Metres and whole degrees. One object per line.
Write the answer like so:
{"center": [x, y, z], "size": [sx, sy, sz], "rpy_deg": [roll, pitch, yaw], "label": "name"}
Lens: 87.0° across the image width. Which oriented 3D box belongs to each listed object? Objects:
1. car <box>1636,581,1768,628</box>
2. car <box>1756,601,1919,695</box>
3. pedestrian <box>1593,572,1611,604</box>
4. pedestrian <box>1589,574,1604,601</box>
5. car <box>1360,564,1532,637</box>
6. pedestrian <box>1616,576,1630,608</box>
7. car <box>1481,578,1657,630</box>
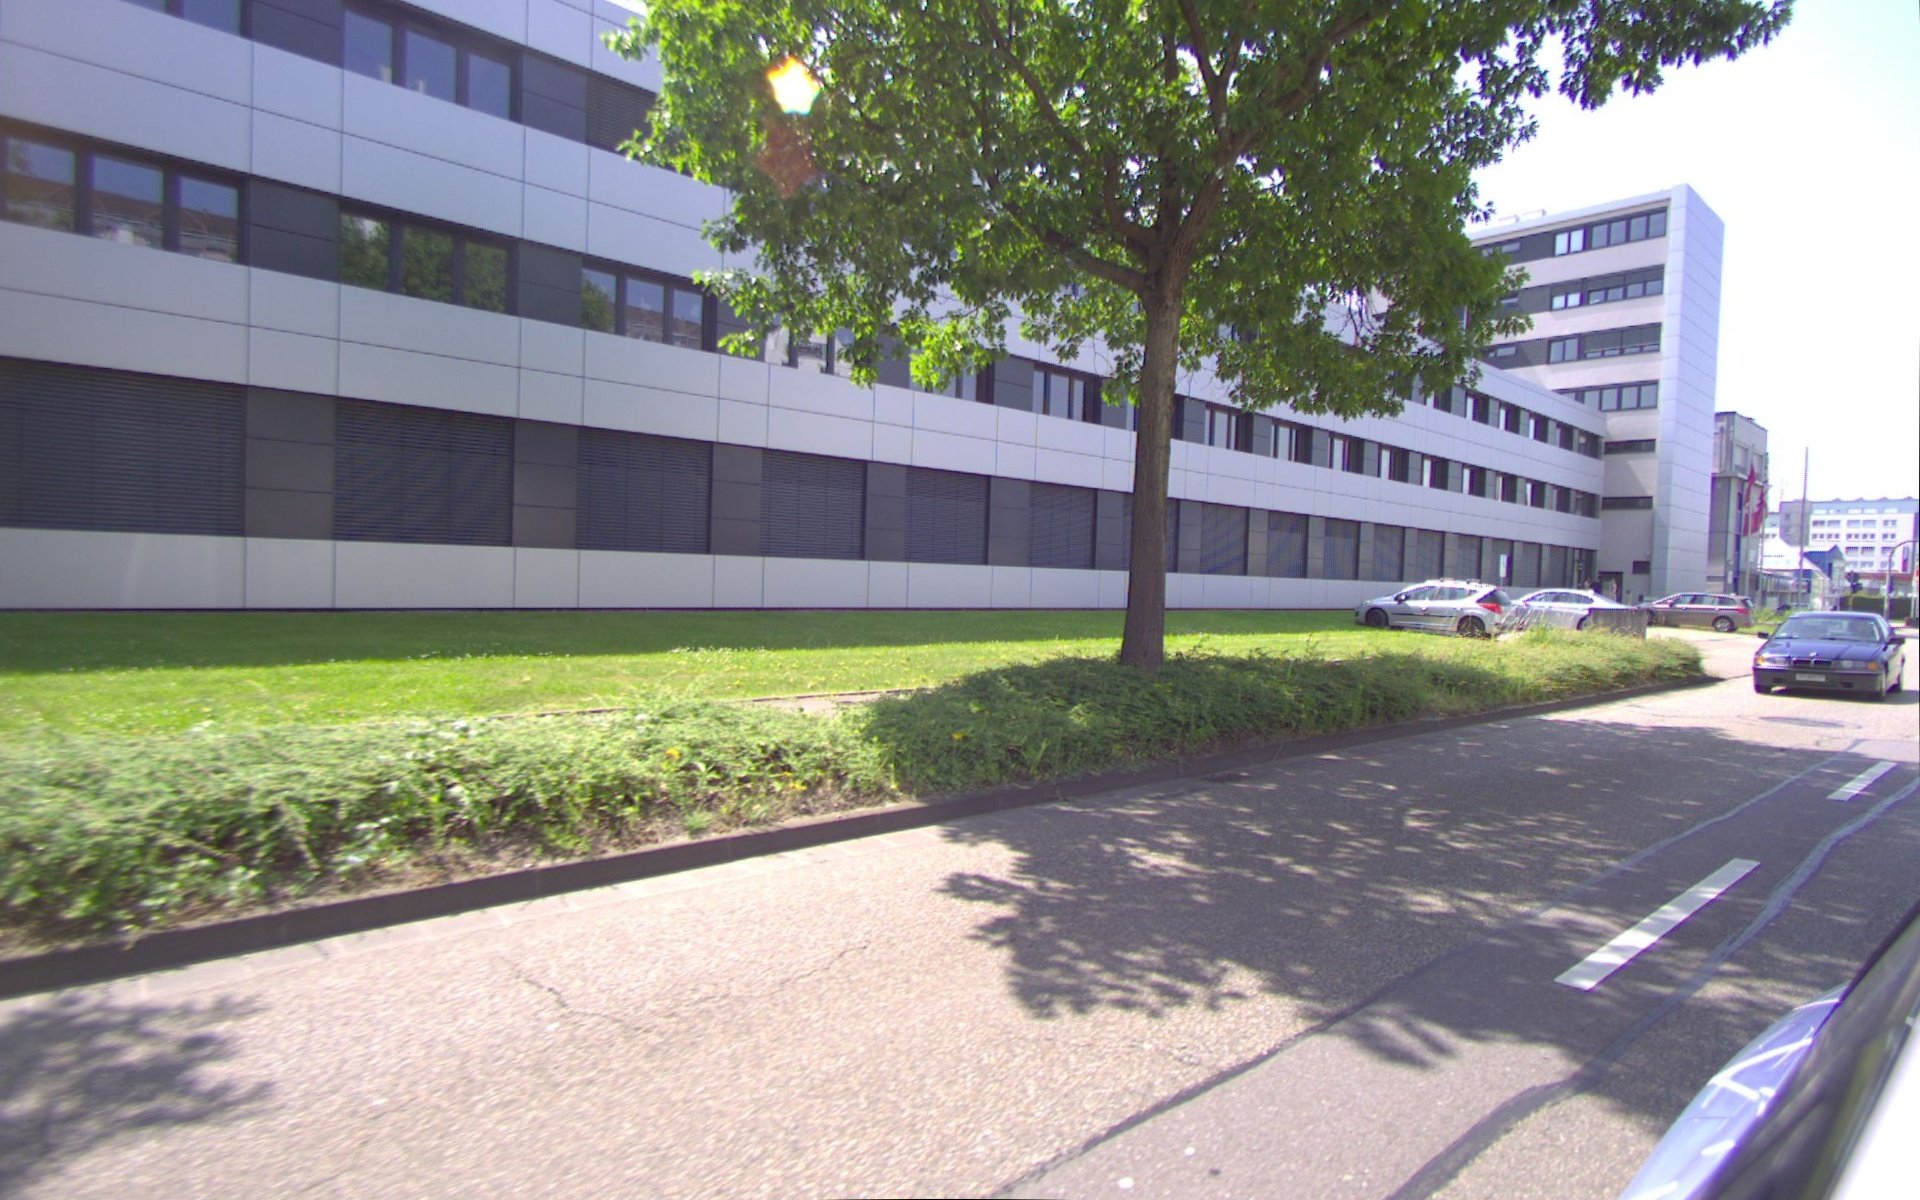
{"center": [31.869, 0.144, 43.536], "size": [1.967, 1.709, 4.263], "rpy_deg": [0, 4, -44], "label": "car"}
{"center": [14.792, 0.740, 16.919], "size": [3.690, 1.356, 1.631], "rpy_deg": [1, 1, -41], "label": "car"}
{"center": [34.237, -0.645, 53.984], "size": [0.513, 1.654, 0.595], "rpy_deg": [2, 2, -32], "label": "pedestrian"}
{"center": [34.628, -0.667, 55.023], "size": [0.521, 1.422, 0.788], "rpy_deg": [4, 2, 39], "label": "pedestrian"}
{"center": [13.264, -0.038, 27.783], "size": [1.704, 1.610, 3.818], "rpy_deg": [0, 5, -44], "label": "car"}
{"center": [35.619, -0.433, 54.398], "size": [0.519, 1.683, 0.748], "rpy_deg": [4, 2, 31], "label": "pedestrian"}
{"center": [19.985, 0.086, 33.361], "size": [1.968, 1.407, 4.617], "rpy_deg": [0, 3, -45], "label": "car"}
